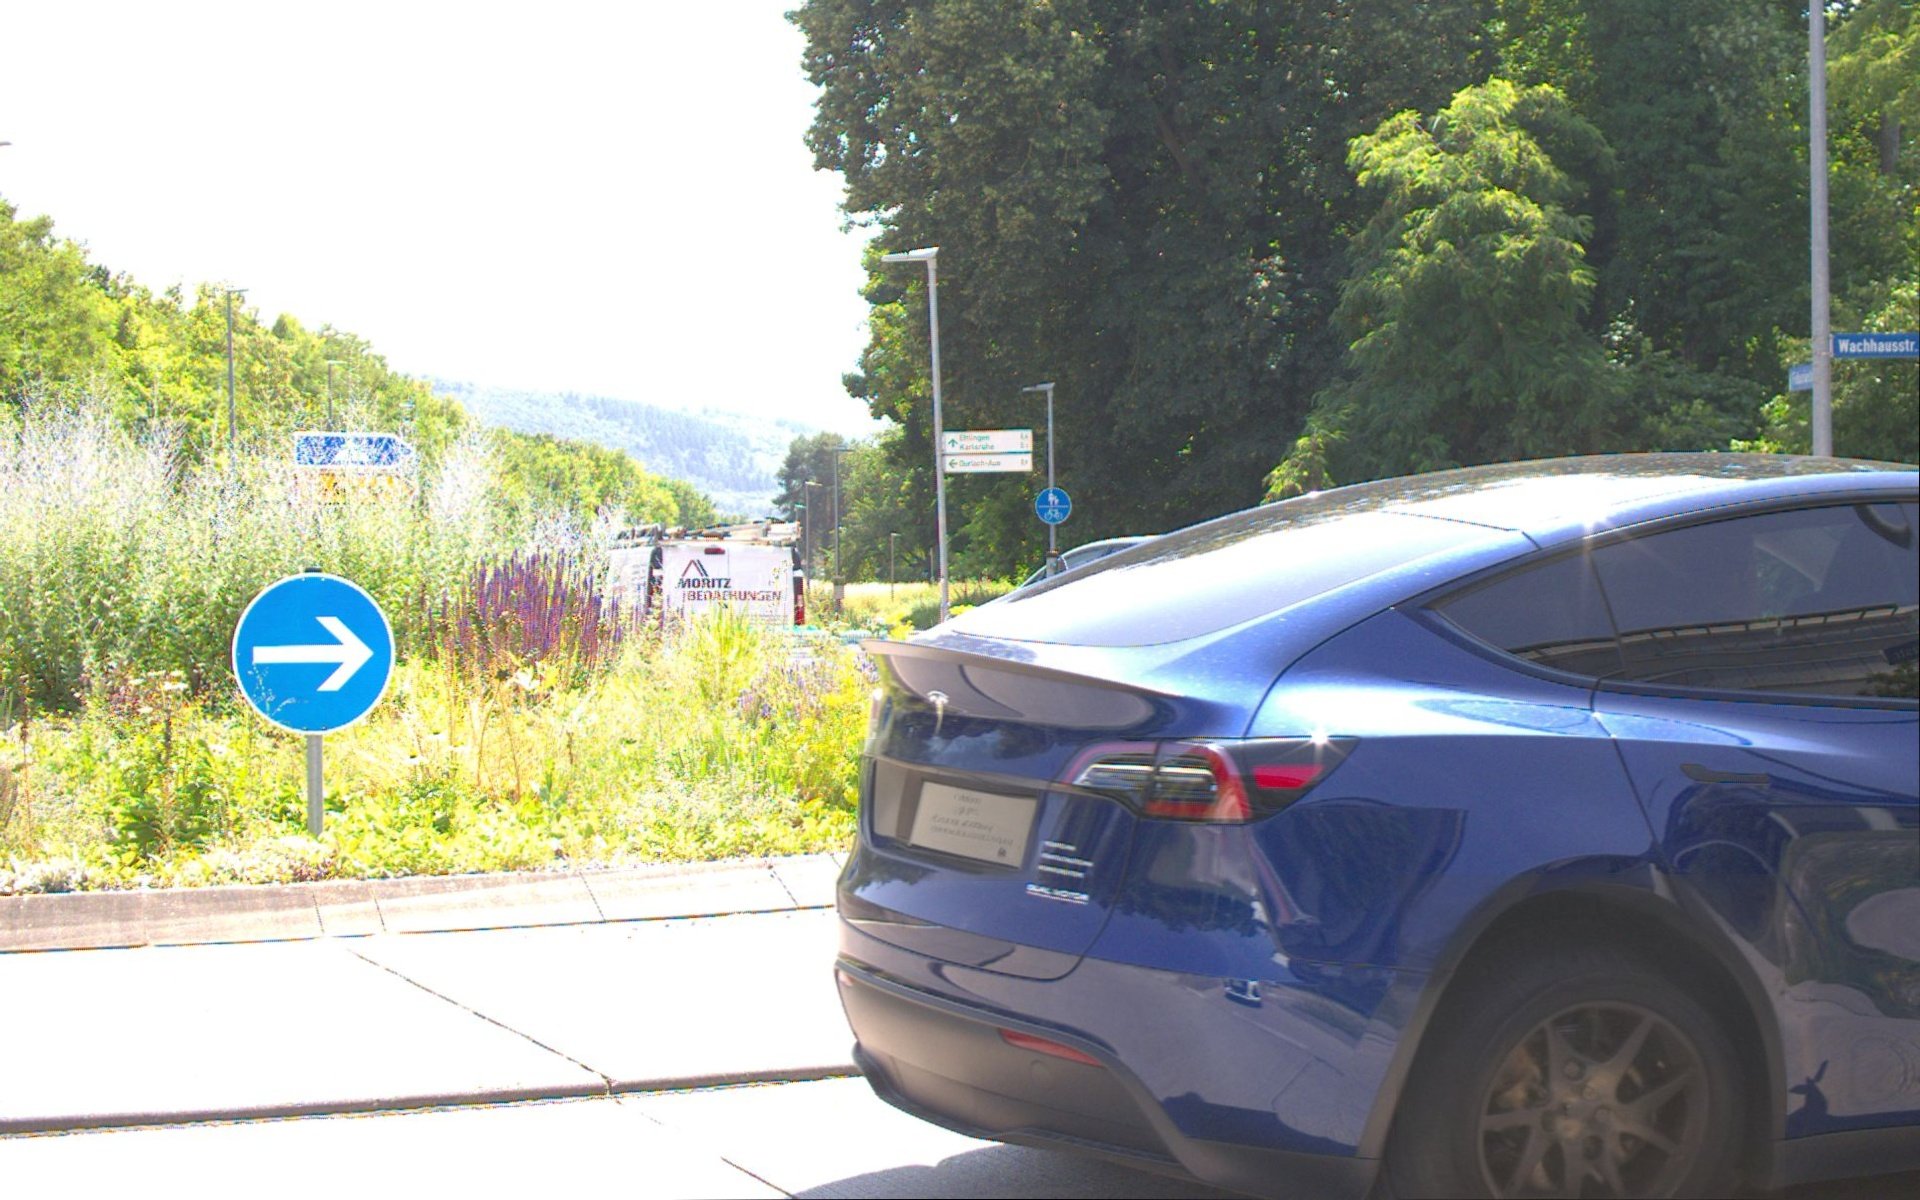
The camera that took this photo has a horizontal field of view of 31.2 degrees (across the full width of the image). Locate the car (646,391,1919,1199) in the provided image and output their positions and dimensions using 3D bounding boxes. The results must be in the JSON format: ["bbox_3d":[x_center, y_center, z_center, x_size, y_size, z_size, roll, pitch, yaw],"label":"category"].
[{"bbox_3d":[1.884,0.426,7.708,4.741,1.634,2.000,-1,1,-25],"label":"car"}]

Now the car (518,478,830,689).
[{"bbox_3d":[-3.442,-0.187,40.382,2.165,2.308,4.982,0,0,-23],"label":"car"}]

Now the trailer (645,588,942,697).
[{"bbox_3d":[-1.816,0.424,36.572,2.121,1.093,3.355,0,0,-23],"label":"trailer"}]

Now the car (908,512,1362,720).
[{"bbox_3d":[1.376,0.113,28.696,1.784,1.601,4.127,0,0,-31],"label":"car"}]
